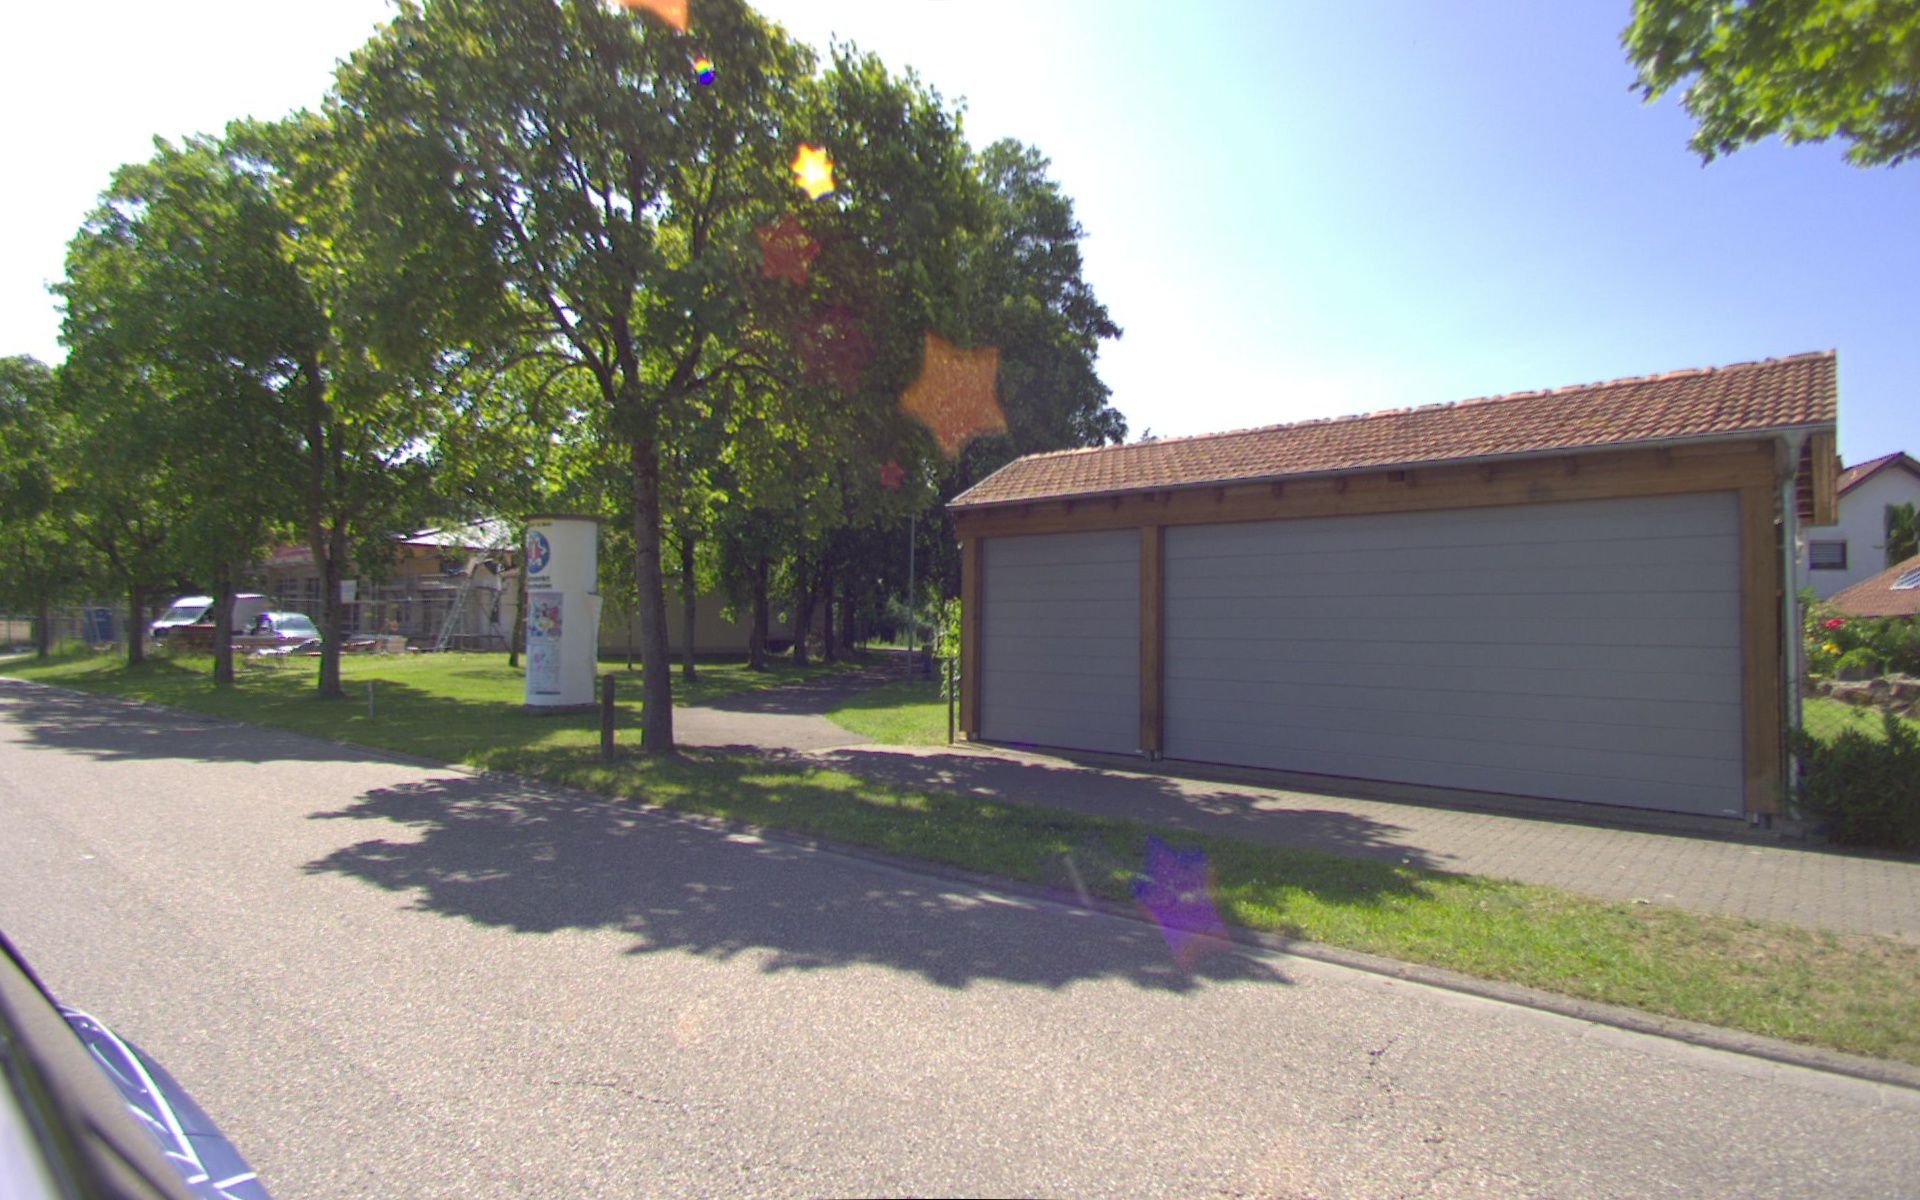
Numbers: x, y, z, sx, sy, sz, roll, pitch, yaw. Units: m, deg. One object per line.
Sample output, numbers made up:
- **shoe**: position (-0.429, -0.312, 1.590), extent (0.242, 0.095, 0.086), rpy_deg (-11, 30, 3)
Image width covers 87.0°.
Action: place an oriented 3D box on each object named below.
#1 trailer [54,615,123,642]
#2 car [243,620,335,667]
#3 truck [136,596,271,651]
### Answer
- **trailer**: position (-77.670, 2.580, 90.228), extent (1.819, 2.295, 4.200), rpy_deg (-1, -3, 26)
- **car**: position (-27.808, 1.775, 41.924), extent (4.323, 1.852, 1.951), rpy_deg (-1, -2, 39)
- **truck**: position (-36.695, 1.171, 49.355), extent (1.973, 2.502, 5.927), rpy_deg (0, -2, 2)
